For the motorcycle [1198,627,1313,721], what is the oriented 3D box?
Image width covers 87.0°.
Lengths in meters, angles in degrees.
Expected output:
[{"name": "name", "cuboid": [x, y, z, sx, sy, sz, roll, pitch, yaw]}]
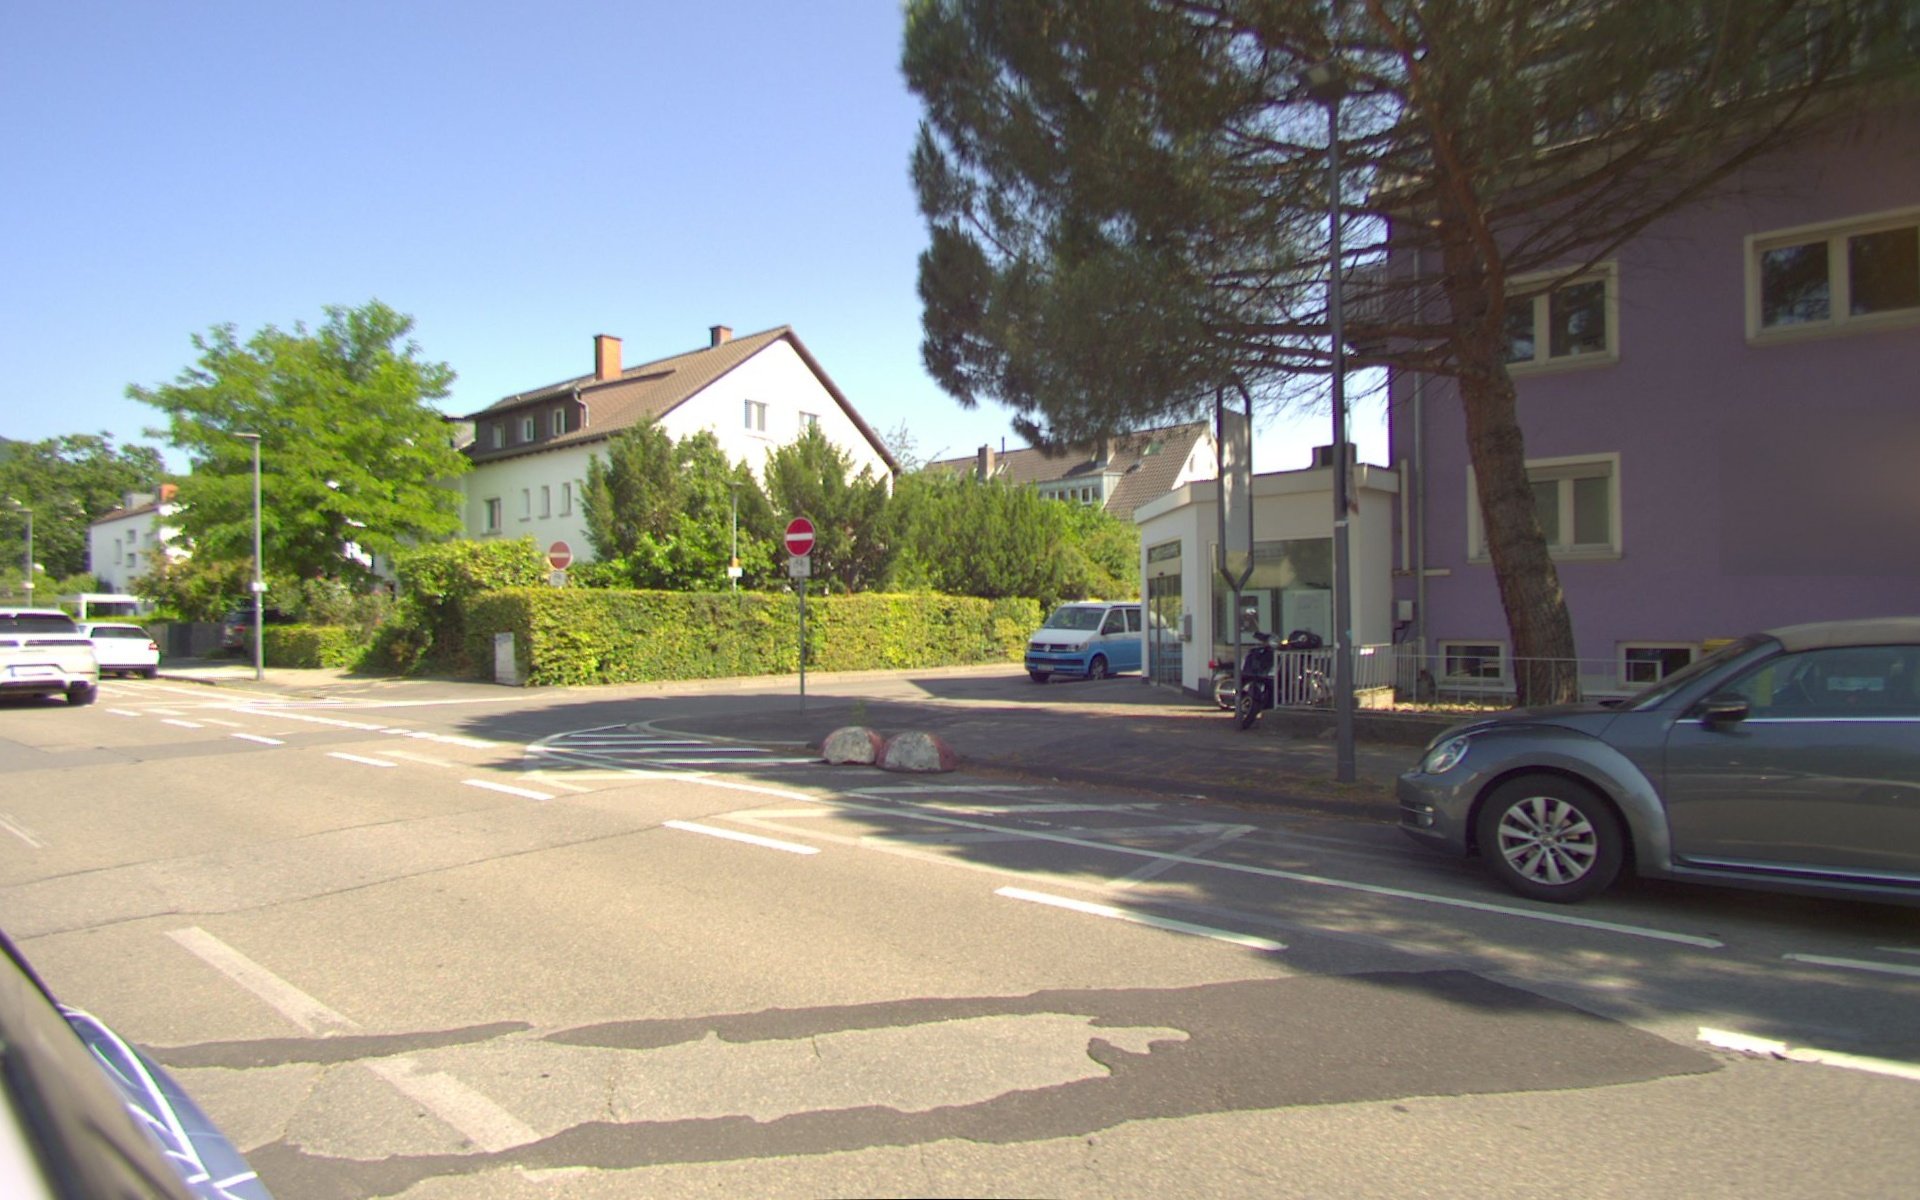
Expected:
[{"name": "motorcycle", "cuboid": [4.255, 1.044, 14.607, 1.497, 1.283, 0.510, -1, -2, 31]}]

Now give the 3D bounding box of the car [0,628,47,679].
[{"name": "car", "cuboid": [-32.338, 1.764, 33.925, 3.996, 1.630, 1.974, -1, -1, 39]}]

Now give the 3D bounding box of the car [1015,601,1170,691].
[{"name": "car", "cuboid": [3.344, 1.097, 25.072, 1.998, 2.029, 3.946, -2, -2, 40]}]

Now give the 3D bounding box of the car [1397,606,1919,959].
[{"name": "car", "cuboid": [4.584, 0.778, 4.921, 4.188, 1.468, 1.823, -2, -2, 38]}]

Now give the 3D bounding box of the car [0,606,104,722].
[{"name": "car", "cuboid": [-16.795, 1.063, 17.601, 4.758, 1.827, 1.981, -2, -2, 38]}]

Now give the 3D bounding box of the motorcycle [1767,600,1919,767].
[{"name": "motorcycle", "cuboid": [9.013, 0.759, 9.293, 2.429, 1.519, 0.519, -2, -2, 35]}]

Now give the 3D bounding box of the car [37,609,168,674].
[{"name": "car", "cuboid": [-22.496, 1.050, 26.504, 3.996, 1.564, 1.934, -1, -1, 39]}]

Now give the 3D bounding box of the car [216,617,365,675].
[{"name": "car", "cuboid": [-22.449, 1.495, 34.004, 3.938, 1.830, 2.003, 1, -2, -41]}]

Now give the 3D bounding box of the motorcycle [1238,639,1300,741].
[{"name": "motorcycle", "cuboid": [3.649, 1.026, 11.898, 0.425, 1.077, 1.207, -1, 0, 30]}]
